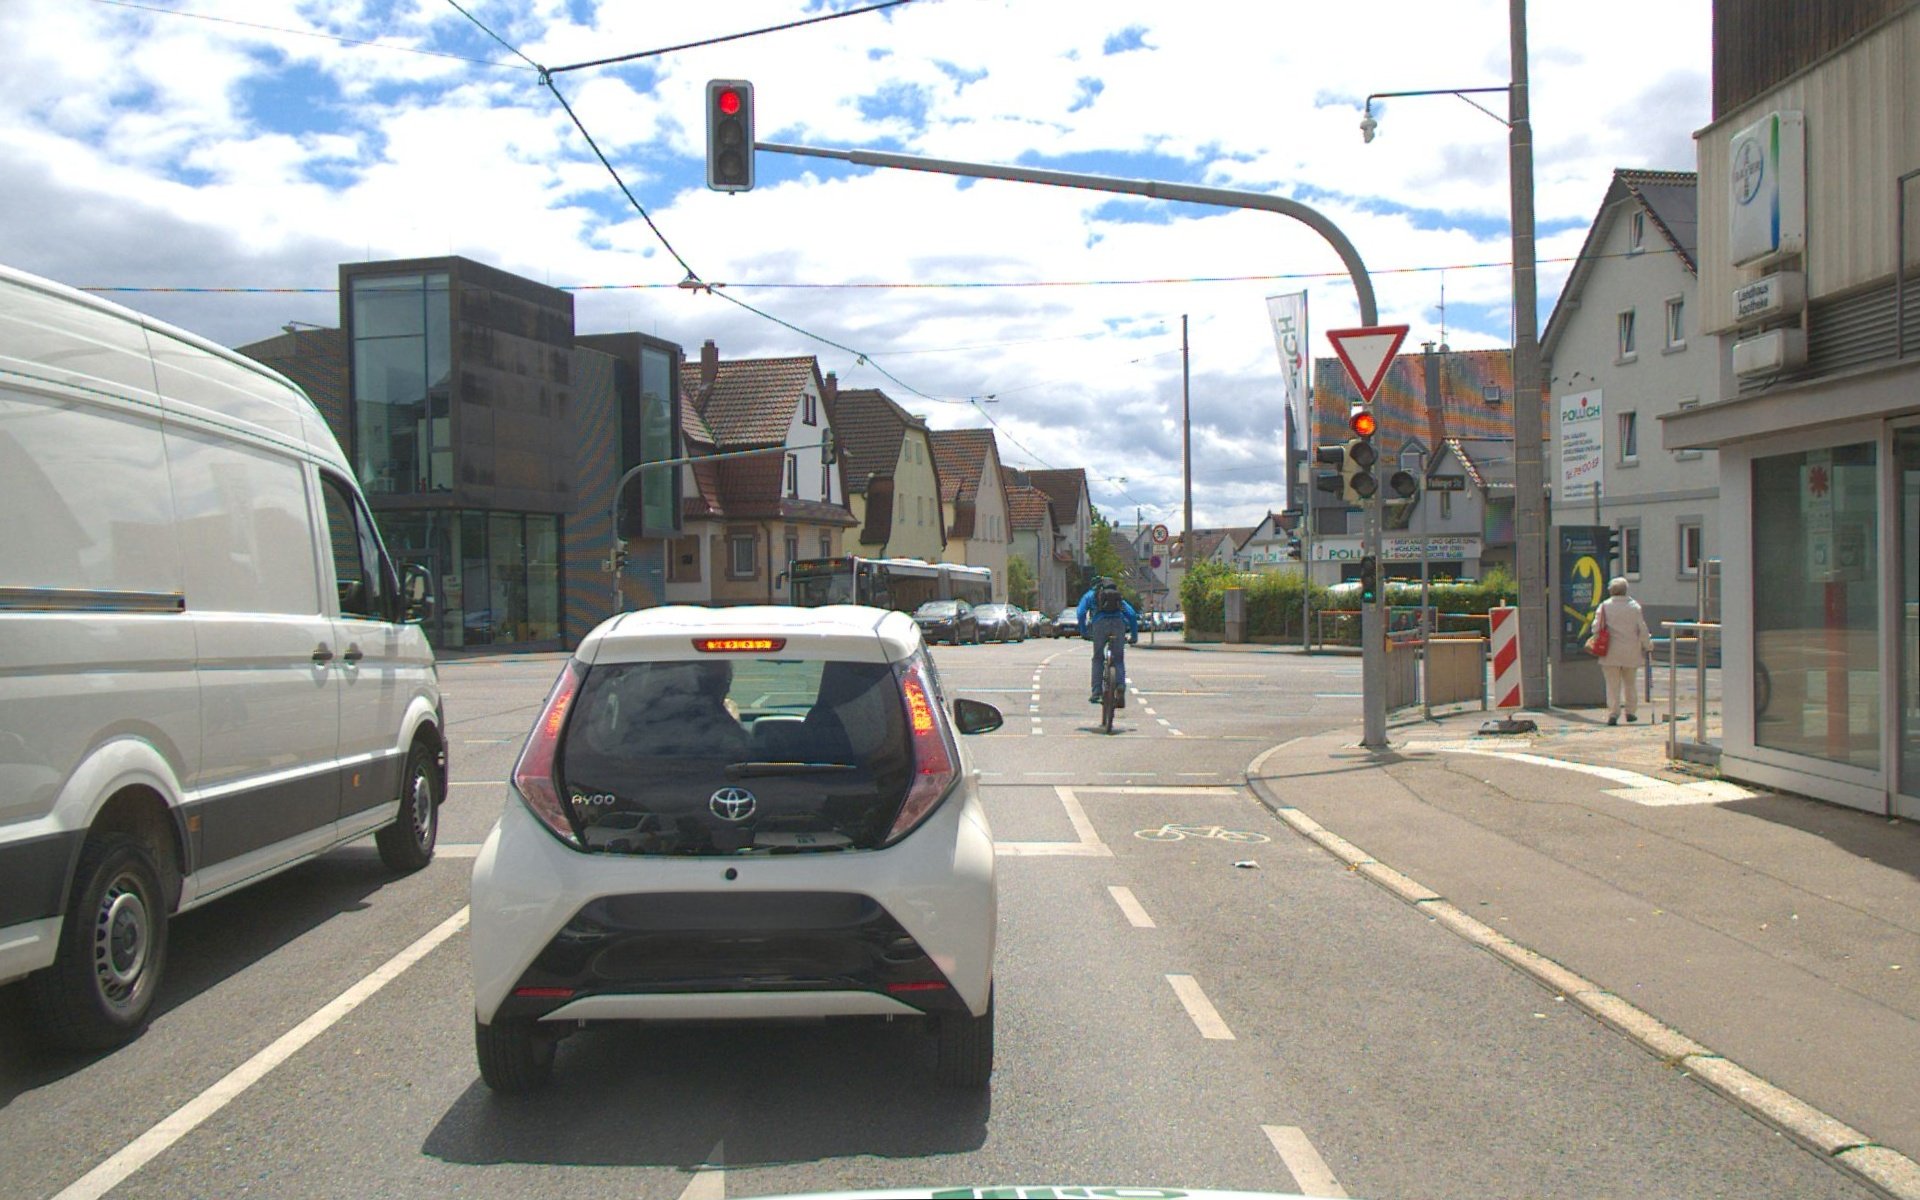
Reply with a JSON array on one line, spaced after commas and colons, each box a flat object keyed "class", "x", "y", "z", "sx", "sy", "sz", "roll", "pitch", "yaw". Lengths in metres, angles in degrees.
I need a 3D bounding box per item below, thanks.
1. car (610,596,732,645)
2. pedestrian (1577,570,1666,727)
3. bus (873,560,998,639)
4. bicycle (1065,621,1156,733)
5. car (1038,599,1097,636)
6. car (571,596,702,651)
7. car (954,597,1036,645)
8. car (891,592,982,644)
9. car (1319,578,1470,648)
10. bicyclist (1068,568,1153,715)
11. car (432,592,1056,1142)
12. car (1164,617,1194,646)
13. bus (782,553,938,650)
[{"class": "car", "x": -10.489, "y": 0.746, "z": 60.113, "sx": 3.902, "sy": 1.713, "sz": 2.002, "roll": -1, "pitch": 0, "yaw": 13}, {"class": "pedestrian", "x": 7.223, "y": 0.511, "z": 18.091, "sx": 0.816, "sy": 1.666, "sz": 0.874, "roll": 0, "pitch": 0, "yaw": 16}, {"class": "bus", "x": -0.853, "y": -0.042, "z": 67.154, "sx": 2.719, "sy": 2.965, "sz": 9.198, "roll": 0, "pitch": 0, "yaw": 15}, {"class": "bicycle", "x": 1.750, "y": 0.875, "z": 19.542, "sx": 0.815, "sy": 1.184, "sz": 2.191, "roll": 2, "pitch": 0, "yaw": -1}, {"class": "car", "x": 5.084, "y": 0.818, "z": 77.793, "sx": 1.951, "sy": 1.668, "sz": 4.003, "roll": 0, "pitch": 0, "yaw": 16}, {"class": "car", "x": -11.171, "y": 0.775, "z": 57.210, "sx": 3.902, "sy": 1.668, "sz": 2.002, "roll": 3, "pitch": 1, "yaw": 13}, {"class": "car", "x": 1.320, "y": 0.745, "z": 60.316, "sx": 1.951, "sy": 1.668, "sz": 4.186, "roll": 0, "pitch": 0, "yaw": 16}, {"class": "car", "x": -0.751, "y": 0.563, "z": 55.265, "sx": 1.951, "sy": 1.668, "sz": 4.003, "roll": 0, "pitch": 0, "yaw": 16}, {"class": "car", "x": 12.989, "y": 0.388, "z": 49.535, "sx": 3.913, "sy": 2.049, "sz": 1.996, "roll": 0, "pitch": 0, "yaw": -9}, {"class": "bicyclist", "x": 1.761, "y": 0.471, "z": 19.471, "sx": 0.823, "sy": 1.642, "sz": 1.083, "roll": 2, "pitch": 0, "yaw": -1}, {"class": "car", "x": -0.676, "y": 0.728, "z": 6.345, "sx": 1.703, "sy": 1.486, "sz": 3.530, "roll": -1, "pitch": 0, "yaw": -3}, {"class": "car", "x": 16.603, "y": 2.377, "z": 125.258, "sx": 1.951, "sy": 2.049, "sz": 4.003, "roll": 0, "pitch": 0, "yaw": 12}, {"class": "bus", "x": -3.315, "y": 0.033, "z": 57.909, "sx": 2.719, "sy": 3.113, "sz": 9.198, "roll": 0, "pitch": 0, "yaw": 15}]
